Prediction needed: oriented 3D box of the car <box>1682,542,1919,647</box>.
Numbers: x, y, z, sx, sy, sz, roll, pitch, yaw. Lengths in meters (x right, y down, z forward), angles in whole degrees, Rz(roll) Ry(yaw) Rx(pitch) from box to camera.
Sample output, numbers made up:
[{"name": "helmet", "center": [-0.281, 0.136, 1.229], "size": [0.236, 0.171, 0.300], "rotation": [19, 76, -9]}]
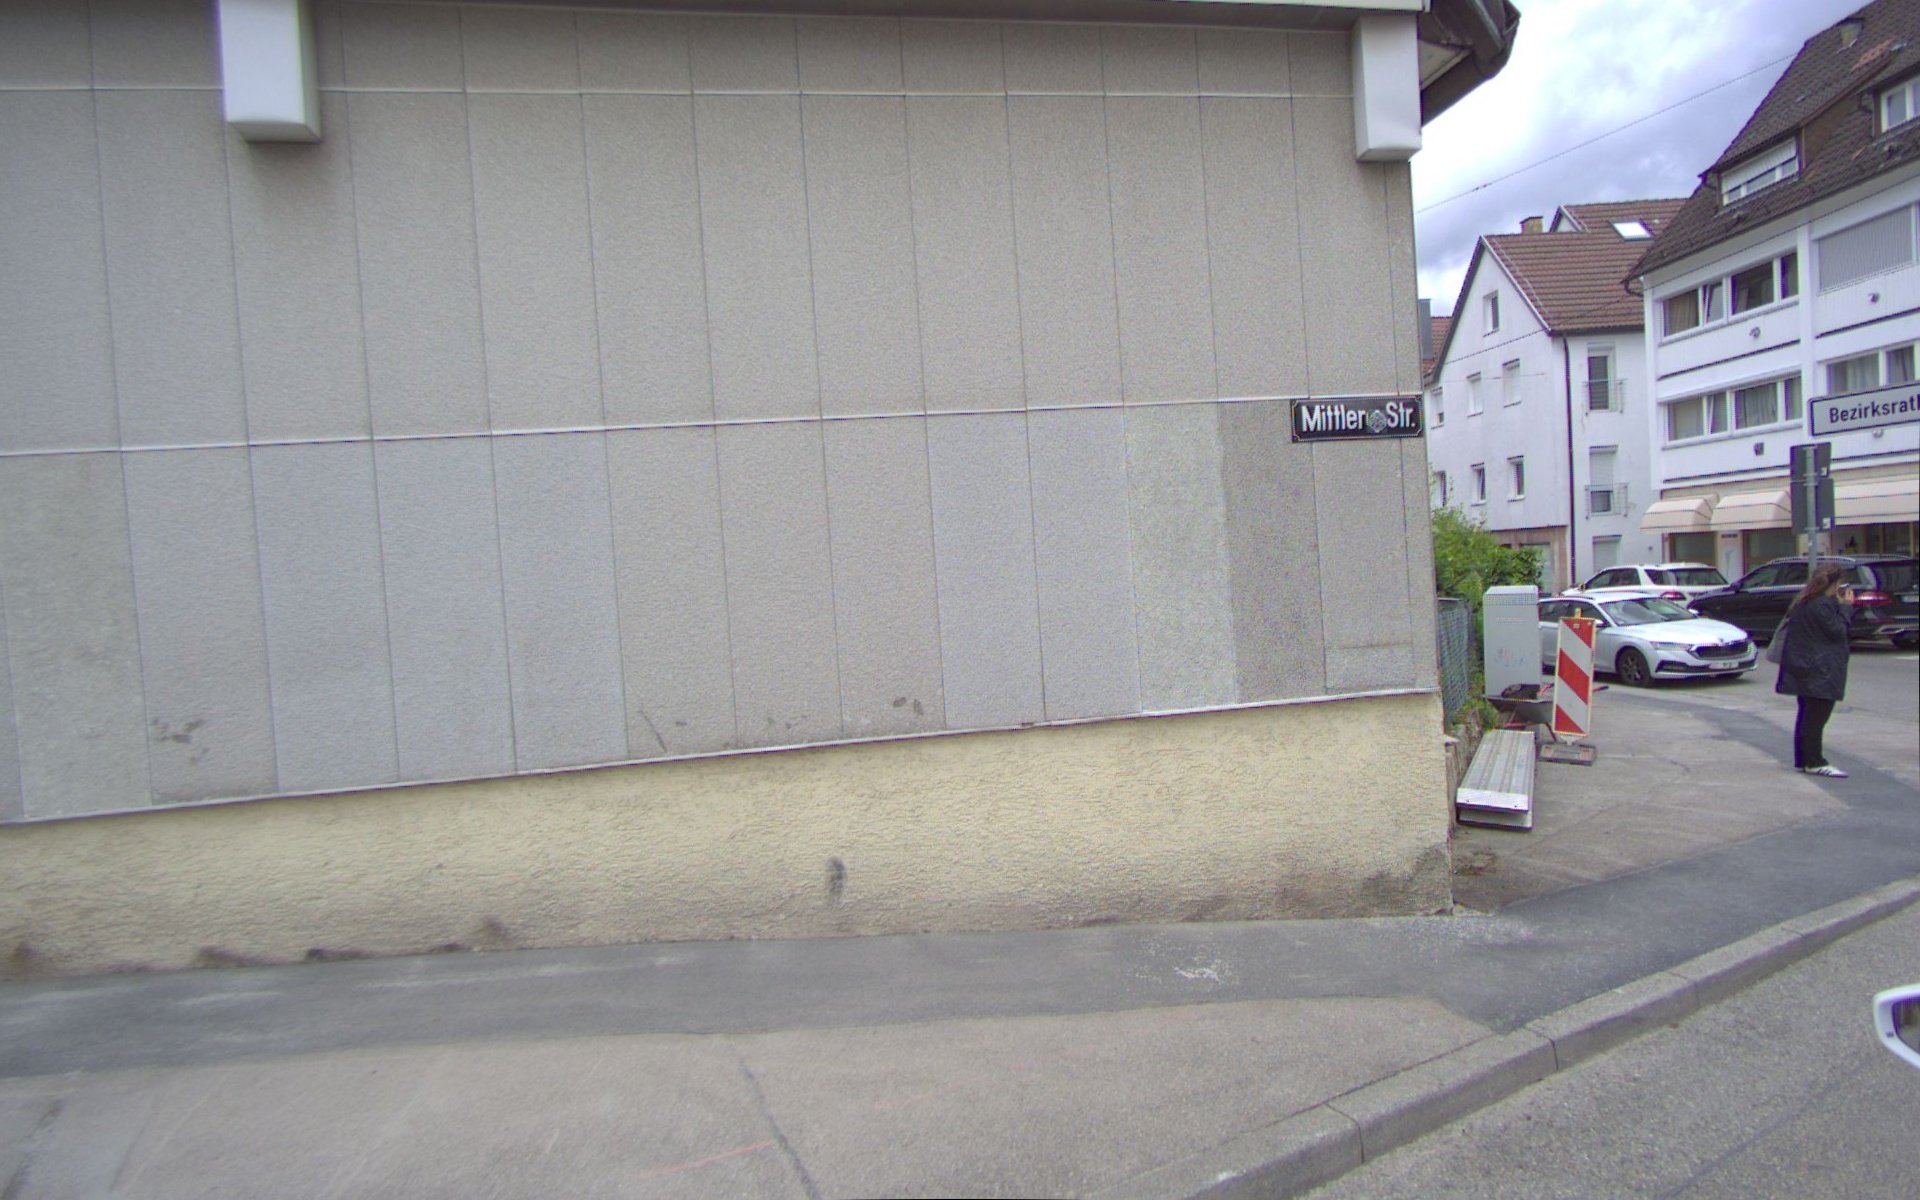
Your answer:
[{"name": "car", "center": [16.916, -0.132, 19.954], "size": [1.909, 1.803, 4.368], "rotation": [-3, 1, -1]}]

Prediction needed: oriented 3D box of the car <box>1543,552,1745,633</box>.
[{"name": "car", "center": [16.828, -0.229, 25.023], "size": [1.902, 1.735, 4.374], "rotation": [-4, 2, -2]}]

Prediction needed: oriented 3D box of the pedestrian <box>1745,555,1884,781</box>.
[{"name": "pedestrian", "center": [6.846, 0.513, 8.059], "size": [0.595, 1.707, 0.645], "rotation": [-2, 1, -22]}]

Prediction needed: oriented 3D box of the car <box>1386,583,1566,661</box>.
[{"name": "car", "center": [11.502, 0.417, 22.745], "size": [1.740, 1.436, 4.170], "rotation": [-6, 1, -2]}]

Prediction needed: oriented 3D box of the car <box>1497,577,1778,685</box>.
[{"name": "car", "center": [11.618, 0.456, 17.649], "size": [1.765, 1.480, 4.293], "rotation": [-6, 1, -3]}]
